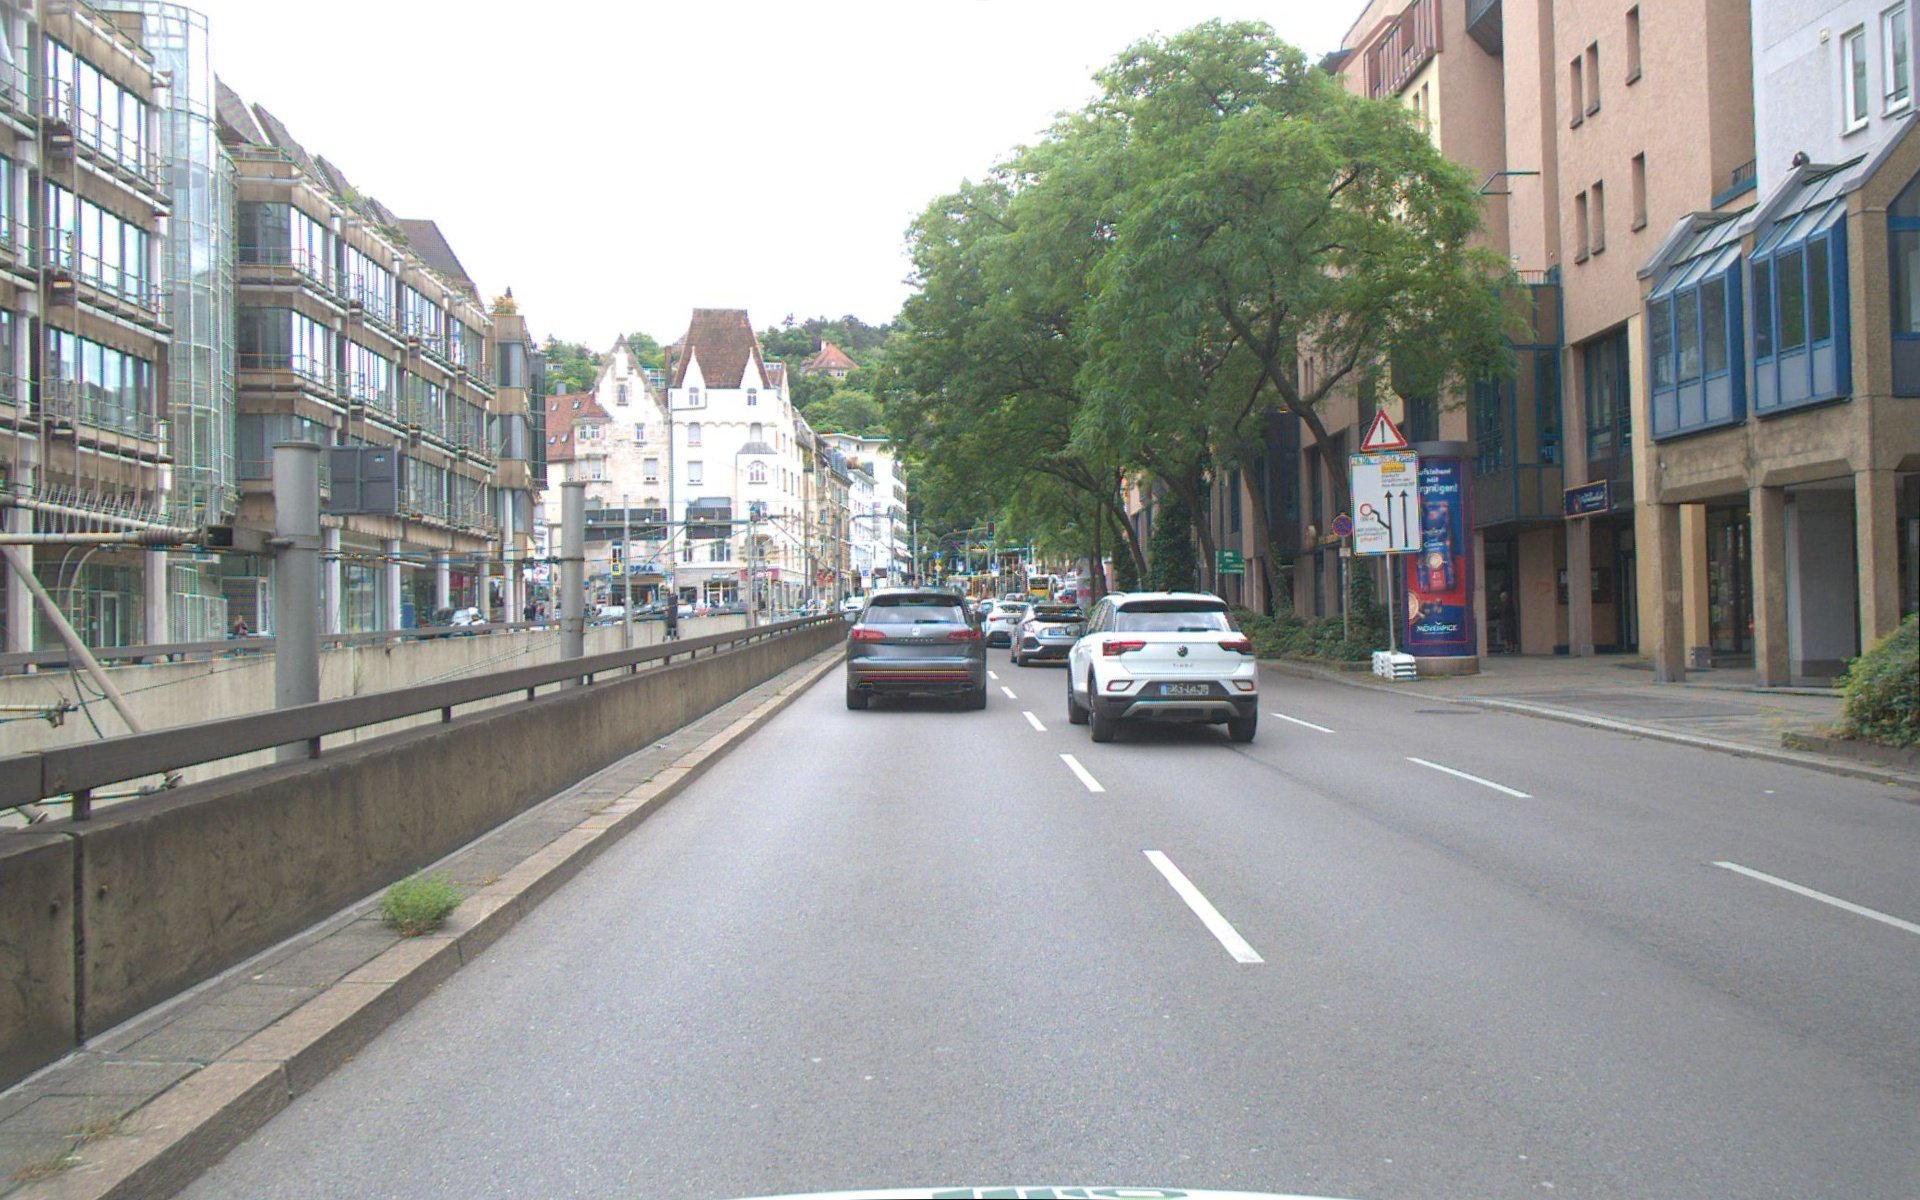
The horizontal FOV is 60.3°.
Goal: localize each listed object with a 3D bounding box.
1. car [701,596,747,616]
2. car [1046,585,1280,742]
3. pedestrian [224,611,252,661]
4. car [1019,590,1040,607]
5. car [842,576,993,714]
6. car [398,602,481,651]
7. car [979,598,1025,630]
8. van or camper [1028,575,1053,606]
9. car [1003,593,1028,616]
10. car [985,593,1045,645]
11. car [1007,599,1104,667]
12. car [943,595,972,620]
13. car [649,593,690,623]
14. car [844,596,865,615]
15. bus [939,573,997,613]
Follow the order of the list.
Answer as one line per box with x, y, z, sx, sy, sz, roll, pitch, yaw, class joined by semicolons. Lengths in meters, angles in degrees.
-20.623;0.527;144.262;3.913;1.676;1.821;-1;0;-9;car
2.145;0.677;18.578;1.763;1.572;3.930;0;-1;-6;car
-27.110;1.342;62.112;0.760;1.856;0.711;-1;0;-11;pedestrian
6.649;-0.142;158.074;1.804;1.495;4.002;-1;0;5;car
-0.668;0.552;23.596;1.931;1.725;4.222;-1;1;-3;car
-20.376;1.006;64.923;1.953;1.798;4.279;-1;0;-1;car
1.927;0.648;77.114;1.796;1.387;3.764;-2;0;-3;car
8.707;-1.043;178.751;2.572;3.234;5.806;-1;0;4;van or camper
4.897;0.381;145.250;1.793;1.907;4.874;-2;0;6;car
1.785;0.610;54.480;1.794;1.544;3.767;-3;0;0;car
2.132;0.710;37.975;1.797;1.457;4.145;0;0;-3;car
-0.198;0.492;111.691;1.795;1.594;3.766;-2;0;-2;car
-18.421;0.502;104.906;1.953;1.798;3.999;-1;0;-1;car
-9.818;0.477;153.738;1.783;1.676;3.996;-1;0;-5;car
0.938;-0.725;162.237;3.768;3.593;17.258;-1;0;6;bus
